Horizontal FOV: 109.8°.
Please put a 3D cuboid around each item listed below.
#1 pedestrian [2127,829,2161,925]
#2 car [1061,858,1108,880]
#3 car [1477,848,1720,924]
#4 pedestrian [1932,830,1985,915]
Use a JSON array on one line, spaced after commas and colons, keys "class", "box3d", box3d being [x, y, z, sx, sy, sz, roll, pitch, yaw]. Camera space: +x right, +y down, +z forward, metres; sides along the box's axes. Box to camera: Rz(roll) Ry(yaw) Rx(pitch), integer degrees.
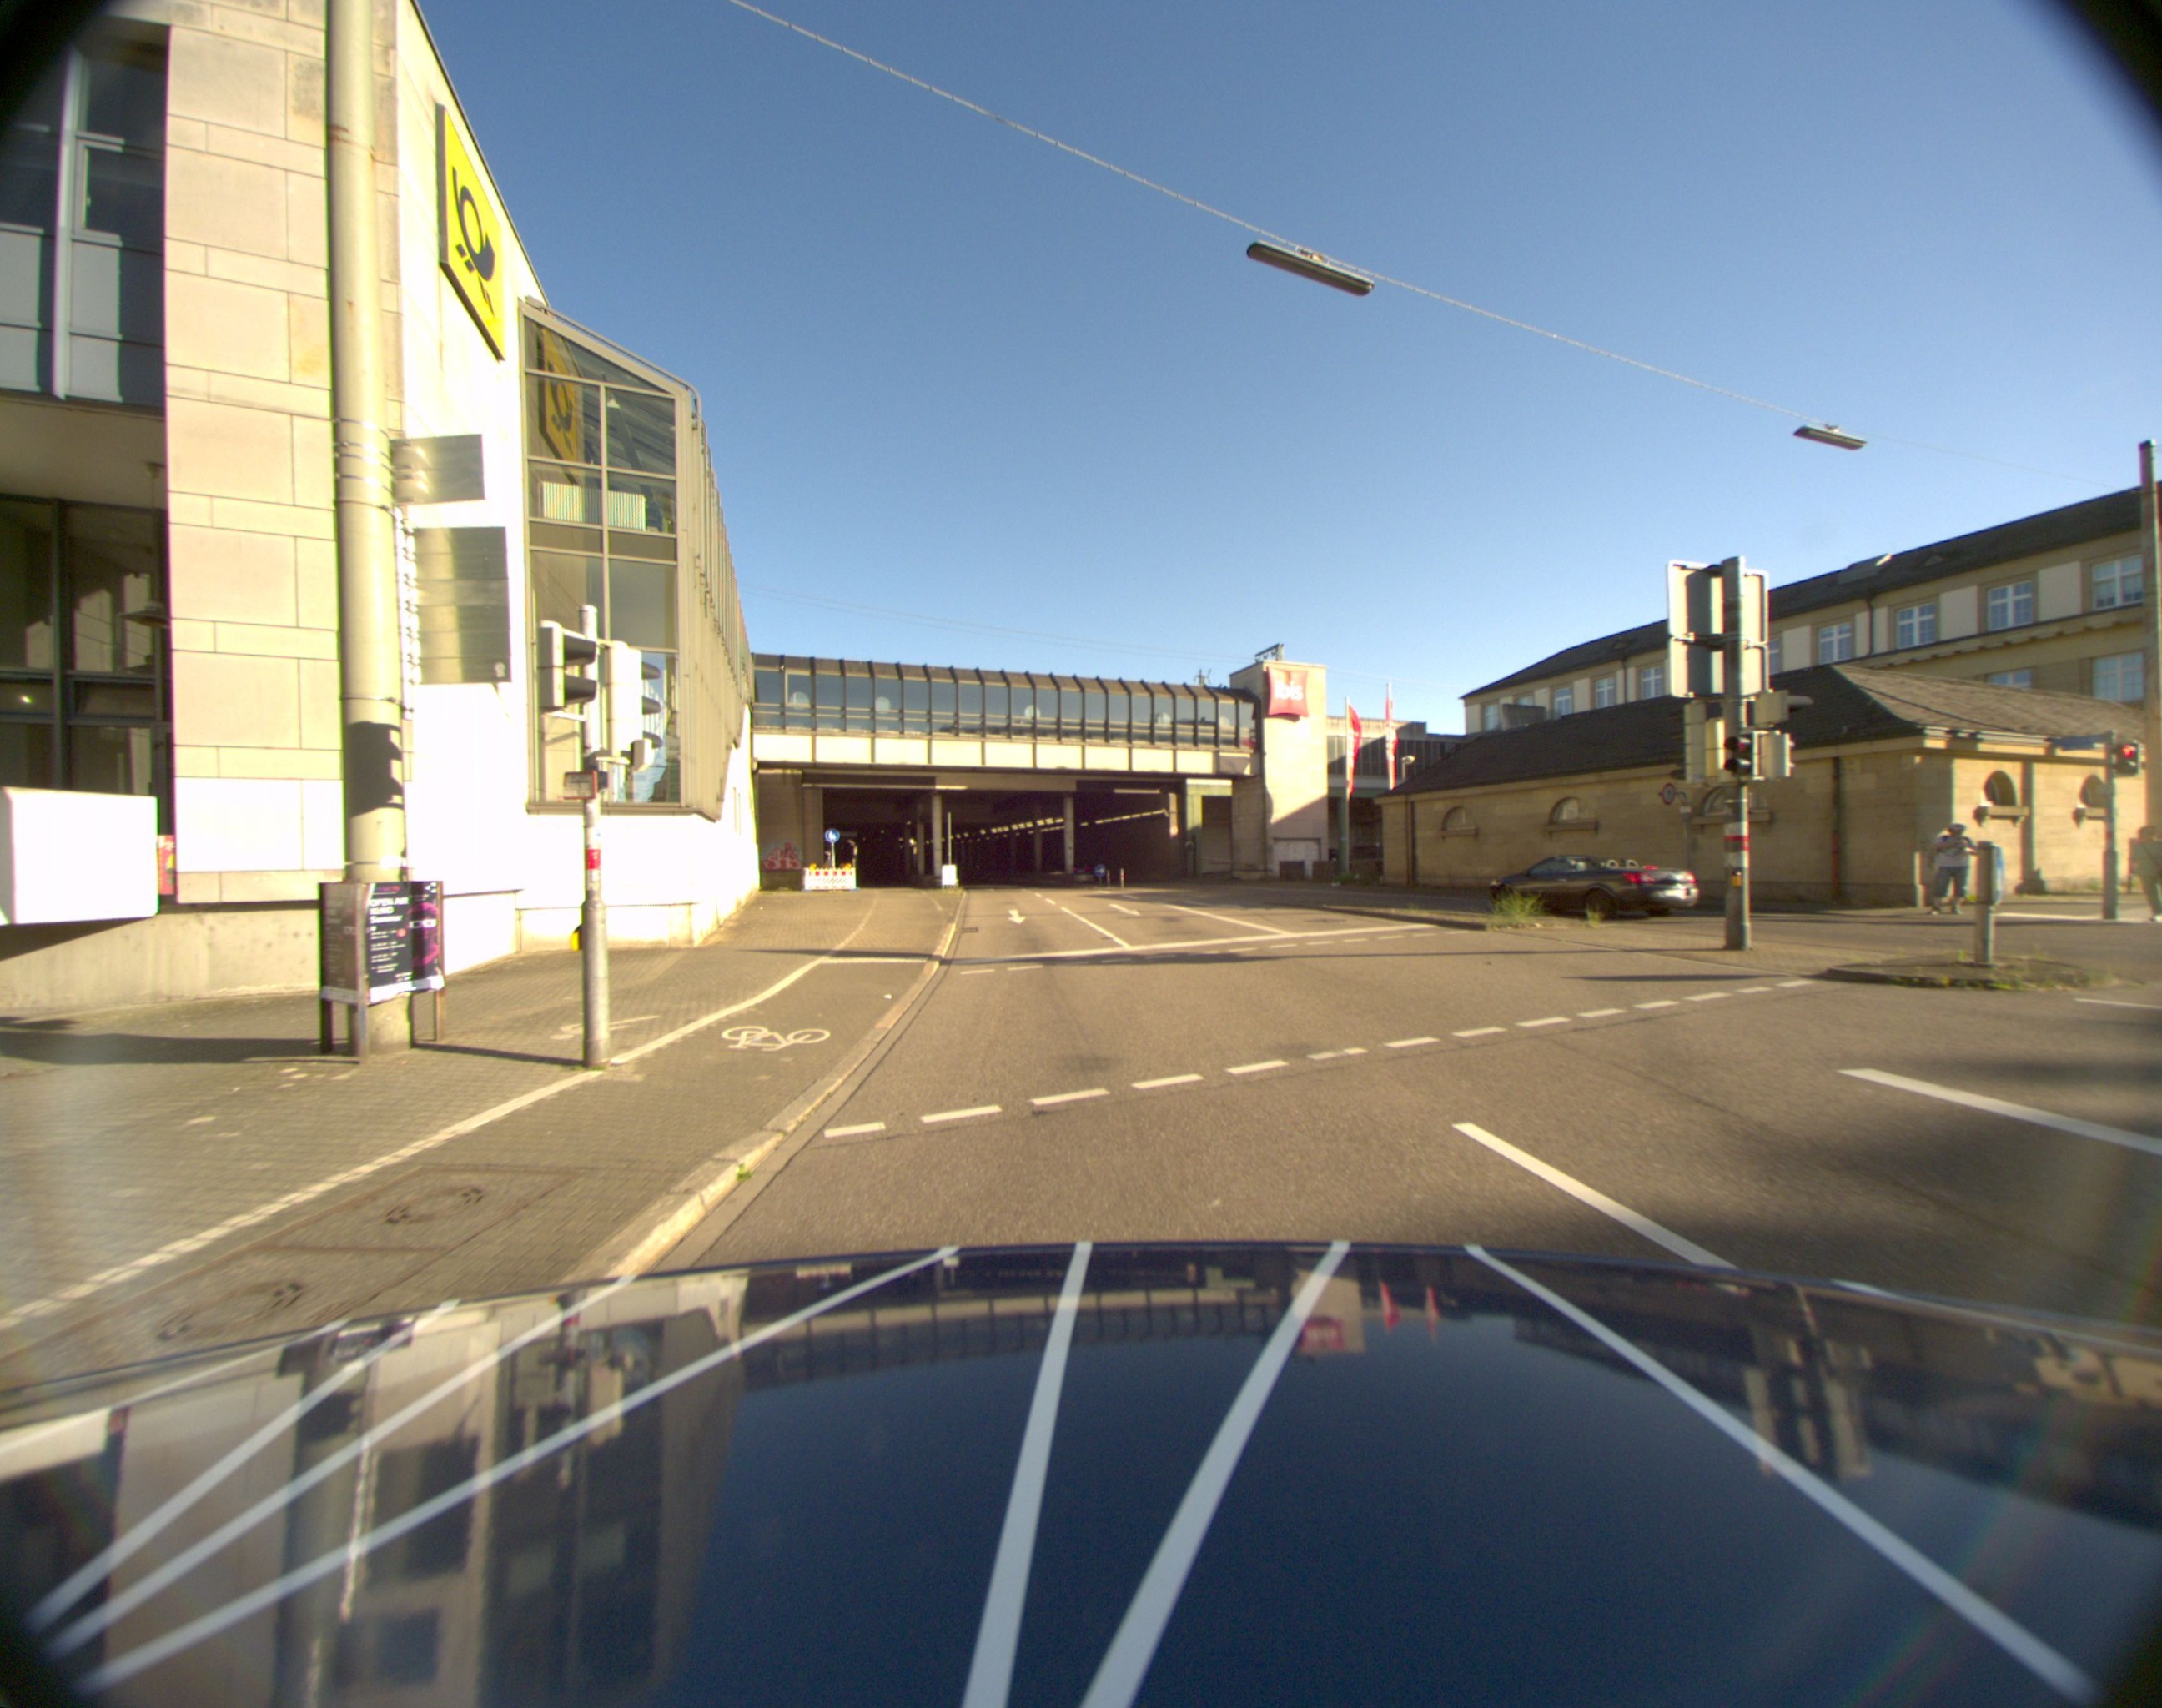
[{"class": "pedestrian", "box3d": [18.505, 0.384, 13.006, 0.624, 1.630, 0.490, -1, 1, 43]}, {"class": "car", "box3d": [0.154, 0.999, 51.760, 1.818, 1.382, 4.240, -2, 0, -20]}, {"class": "car", "box3d": [11.244, 0.627, 16.942, 1.830, 1.417, 4.321, -2, 0, -15]}, {"class": "pedestrian", "box3d": [17.241, 0.360, 14.946, 0.624, 1.630, 0.516, -1, 1, 43]}]
